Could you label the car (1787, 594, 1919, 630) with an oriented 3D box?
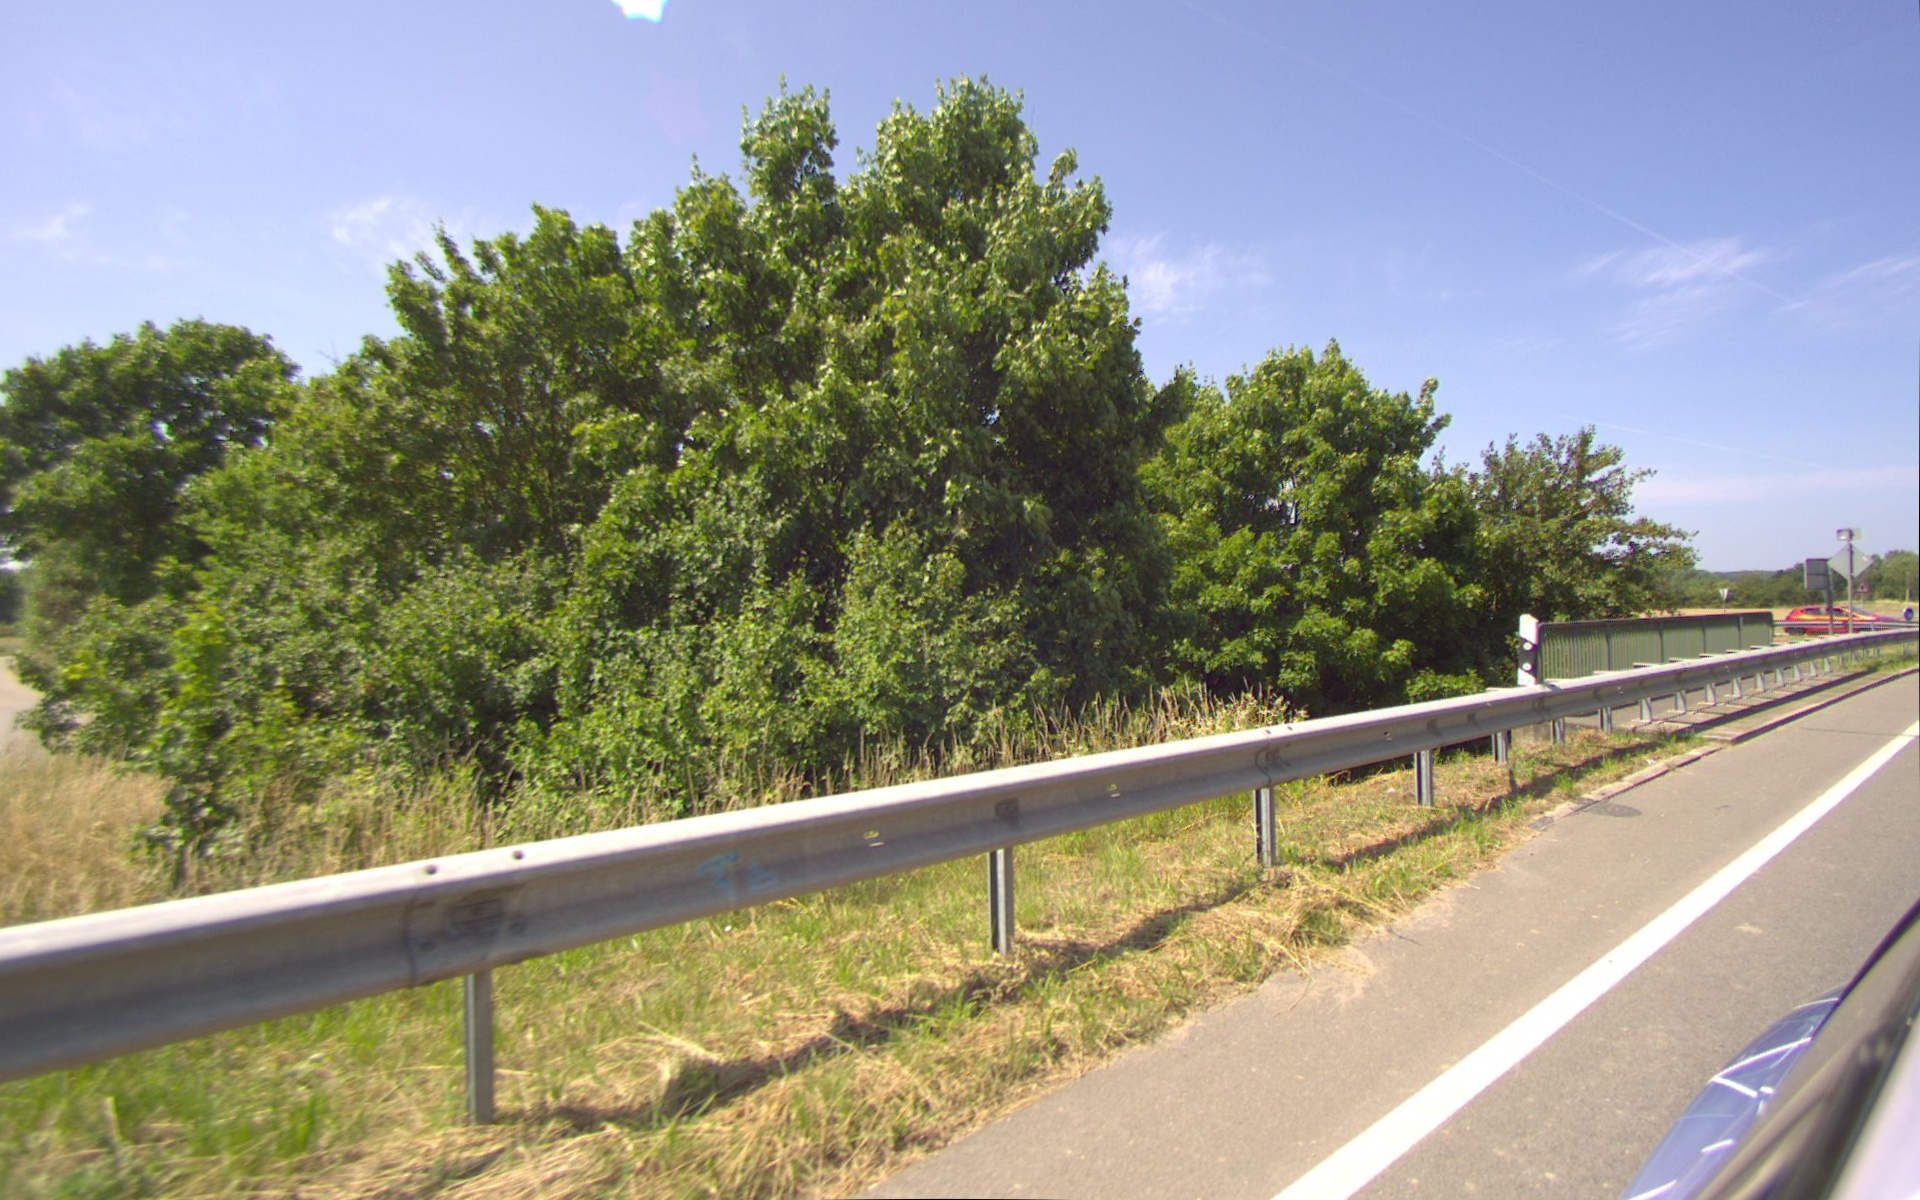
[{"bbox_3d":[38.206,0.538,43.151,1.743,1.436,4.171,-1,-1,-27],"label":"car"}]
